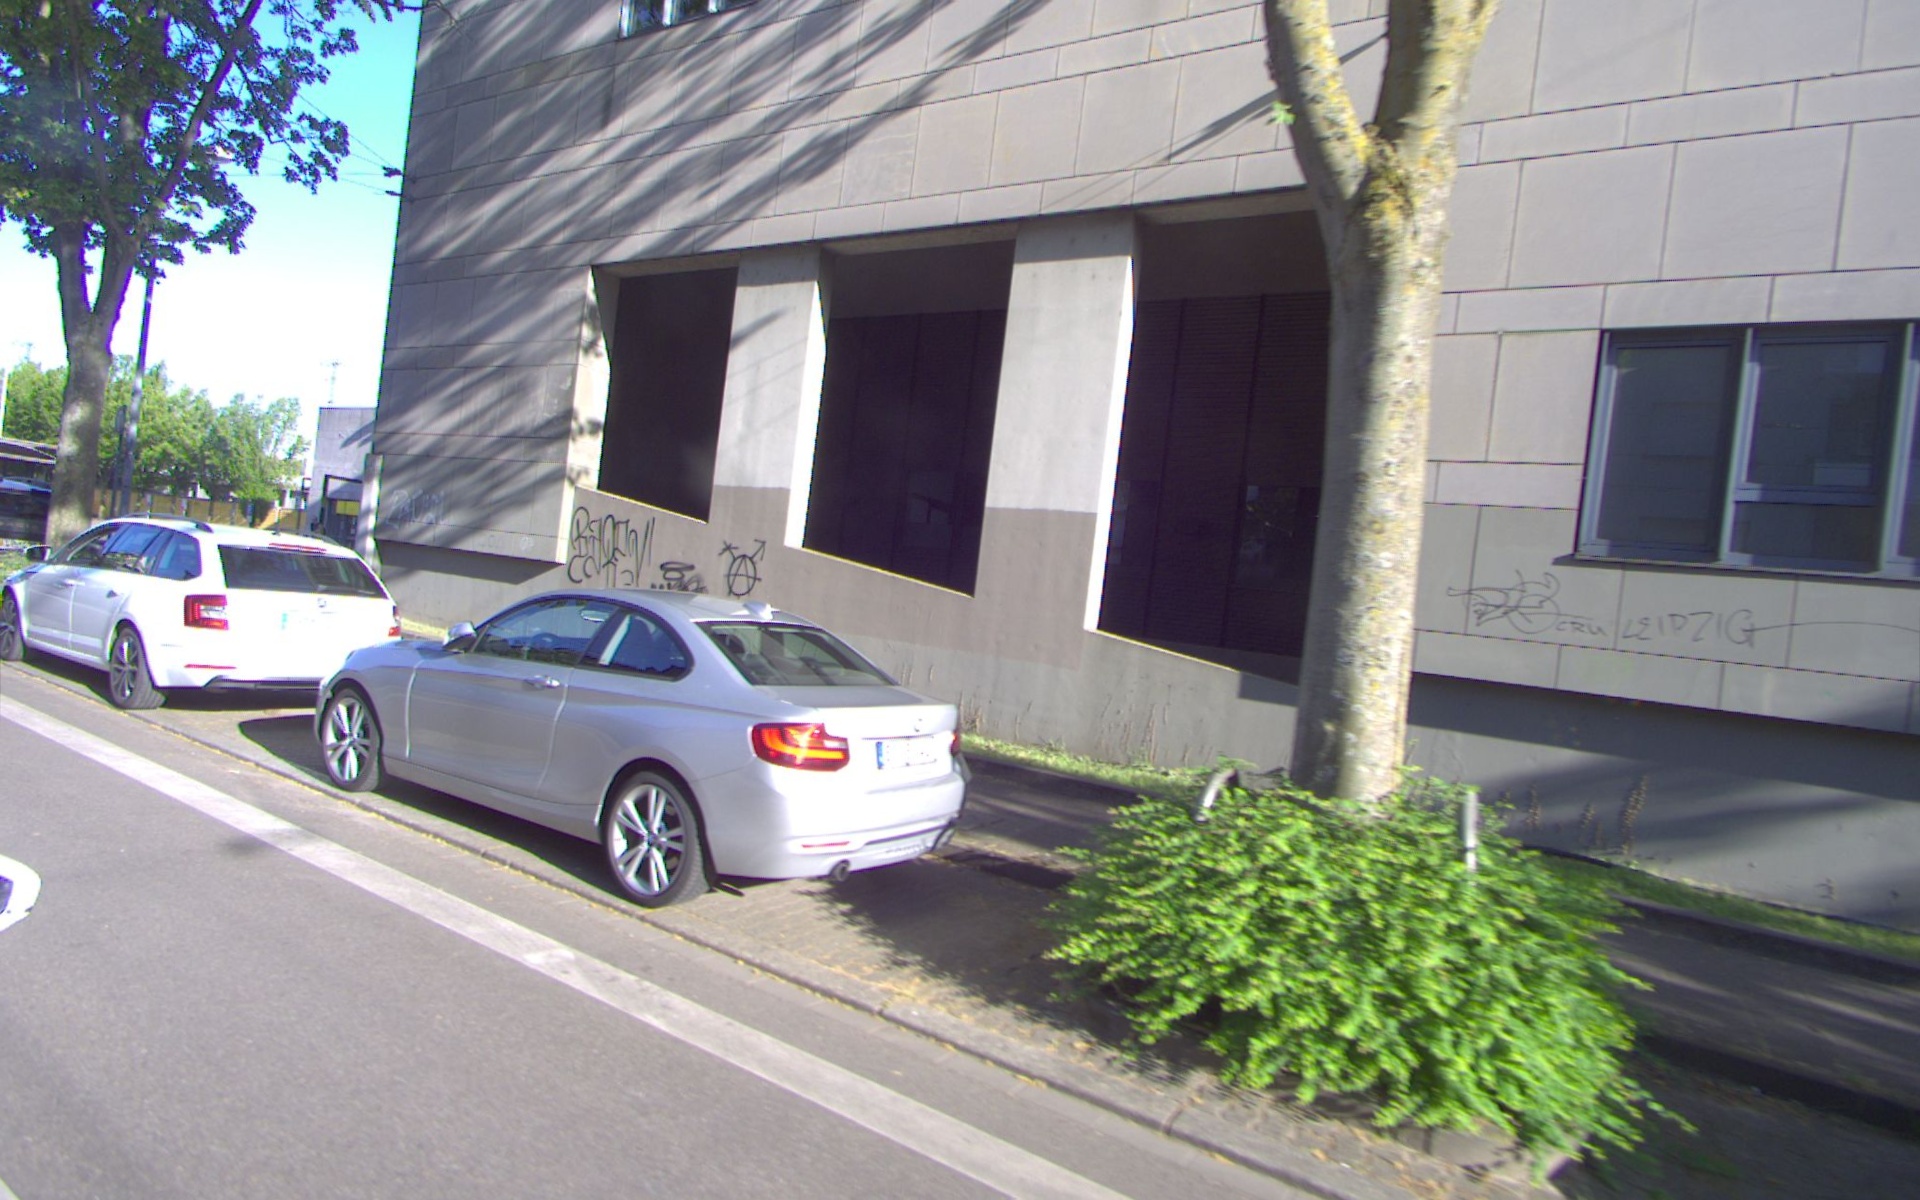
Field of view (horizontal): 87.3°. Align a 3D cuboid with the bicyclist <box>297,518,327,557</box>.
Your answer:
[{"bbox_3d":[-26.082,-2.510,40.510,0.719,1.400,0.580,7,-1,-15],"label":"bicyclist"}]

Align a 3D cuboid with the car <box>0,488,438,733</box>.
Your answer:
[{"bbox_3d":[-6.846,0.016,8.914,4.546,1.507,1.716,7,-1,31],"label":"car"}]

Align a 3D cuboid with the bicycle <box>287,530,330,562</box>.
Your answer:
[{"bbox_3d":[-26.115,-2.142,40.359,0.742,1.083,2.005,7,-2,-14],"label":"bicycle"}]

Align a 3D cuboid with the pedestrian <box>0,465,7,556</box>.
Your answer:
[{"bbox_3d":[-19.910,-1.851,20.294,1.282,1.814,0.671,6,4,31],"label":"pedestrian"}]

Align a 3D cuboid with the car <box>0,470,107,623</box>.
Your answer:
[{"bbox_3d":[-13.110,-0.857,12.932,4.204,1.731,1.746,6,-2,29],"label":"car"}]

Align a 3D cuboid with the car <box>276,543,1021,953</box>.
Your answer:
[{"bbox_3d":[-1.984,0.628,5.968,4.256,1.424,1.712,6,-2,31],"label":"car"}]
